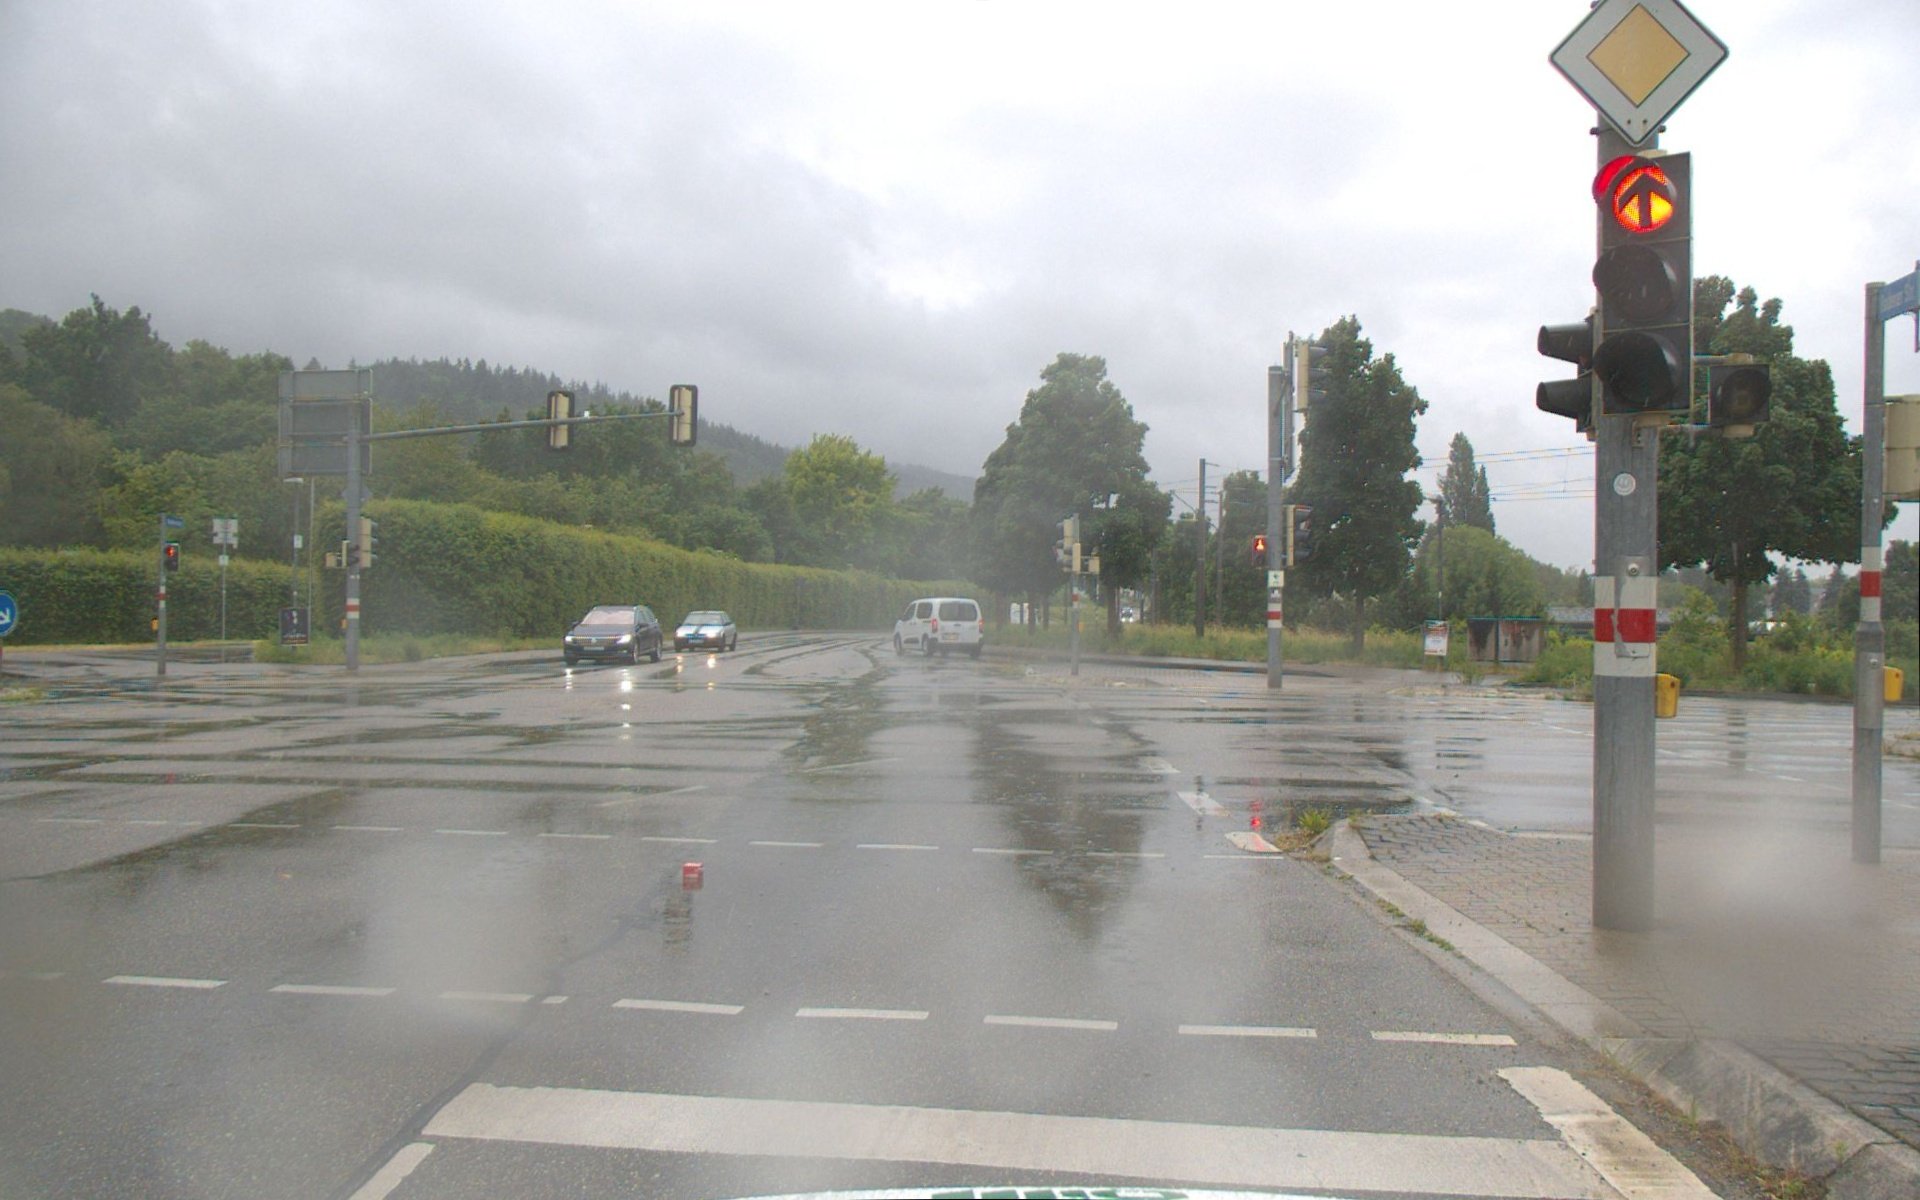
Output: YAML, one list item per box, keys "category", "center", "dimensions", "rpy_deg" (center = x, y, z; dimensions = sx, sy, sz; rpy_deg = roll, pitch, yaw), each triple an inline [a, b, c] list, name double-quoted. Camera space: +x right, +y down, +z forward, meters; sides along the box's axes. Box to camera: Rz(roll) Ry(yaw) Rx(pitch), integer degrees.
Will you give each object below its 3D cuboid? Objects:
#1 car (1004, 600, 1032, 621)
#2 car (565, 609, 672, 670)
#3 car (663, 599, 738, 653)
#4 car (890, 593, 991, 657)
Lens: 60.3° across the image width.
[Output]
- category: "car"
  center: [5.567, 0.976, 158.304]
  dimensions: [1.891, 1.923, 4.065]
  rpy_deg: [0, 0, 13]
- category: "car"
  center: [-8.885, 1.008, 43.417]
  dimensions: [1.673, 1.491, 4.454]
  rpy_deg: [0, 0, 3]
- category: "car"
  center: [-8.918, 0.852, 57.113]
  dimensions: [1.995, 1.738, 4.065]
  rpy_deg: [1, 0, -1]
- category: "car"
  center: [-0.660, 0.741, 52.202]
  dimensions: [1.925, 1.937, 4.095]
  rpy_deg: [0, 0, -20]
